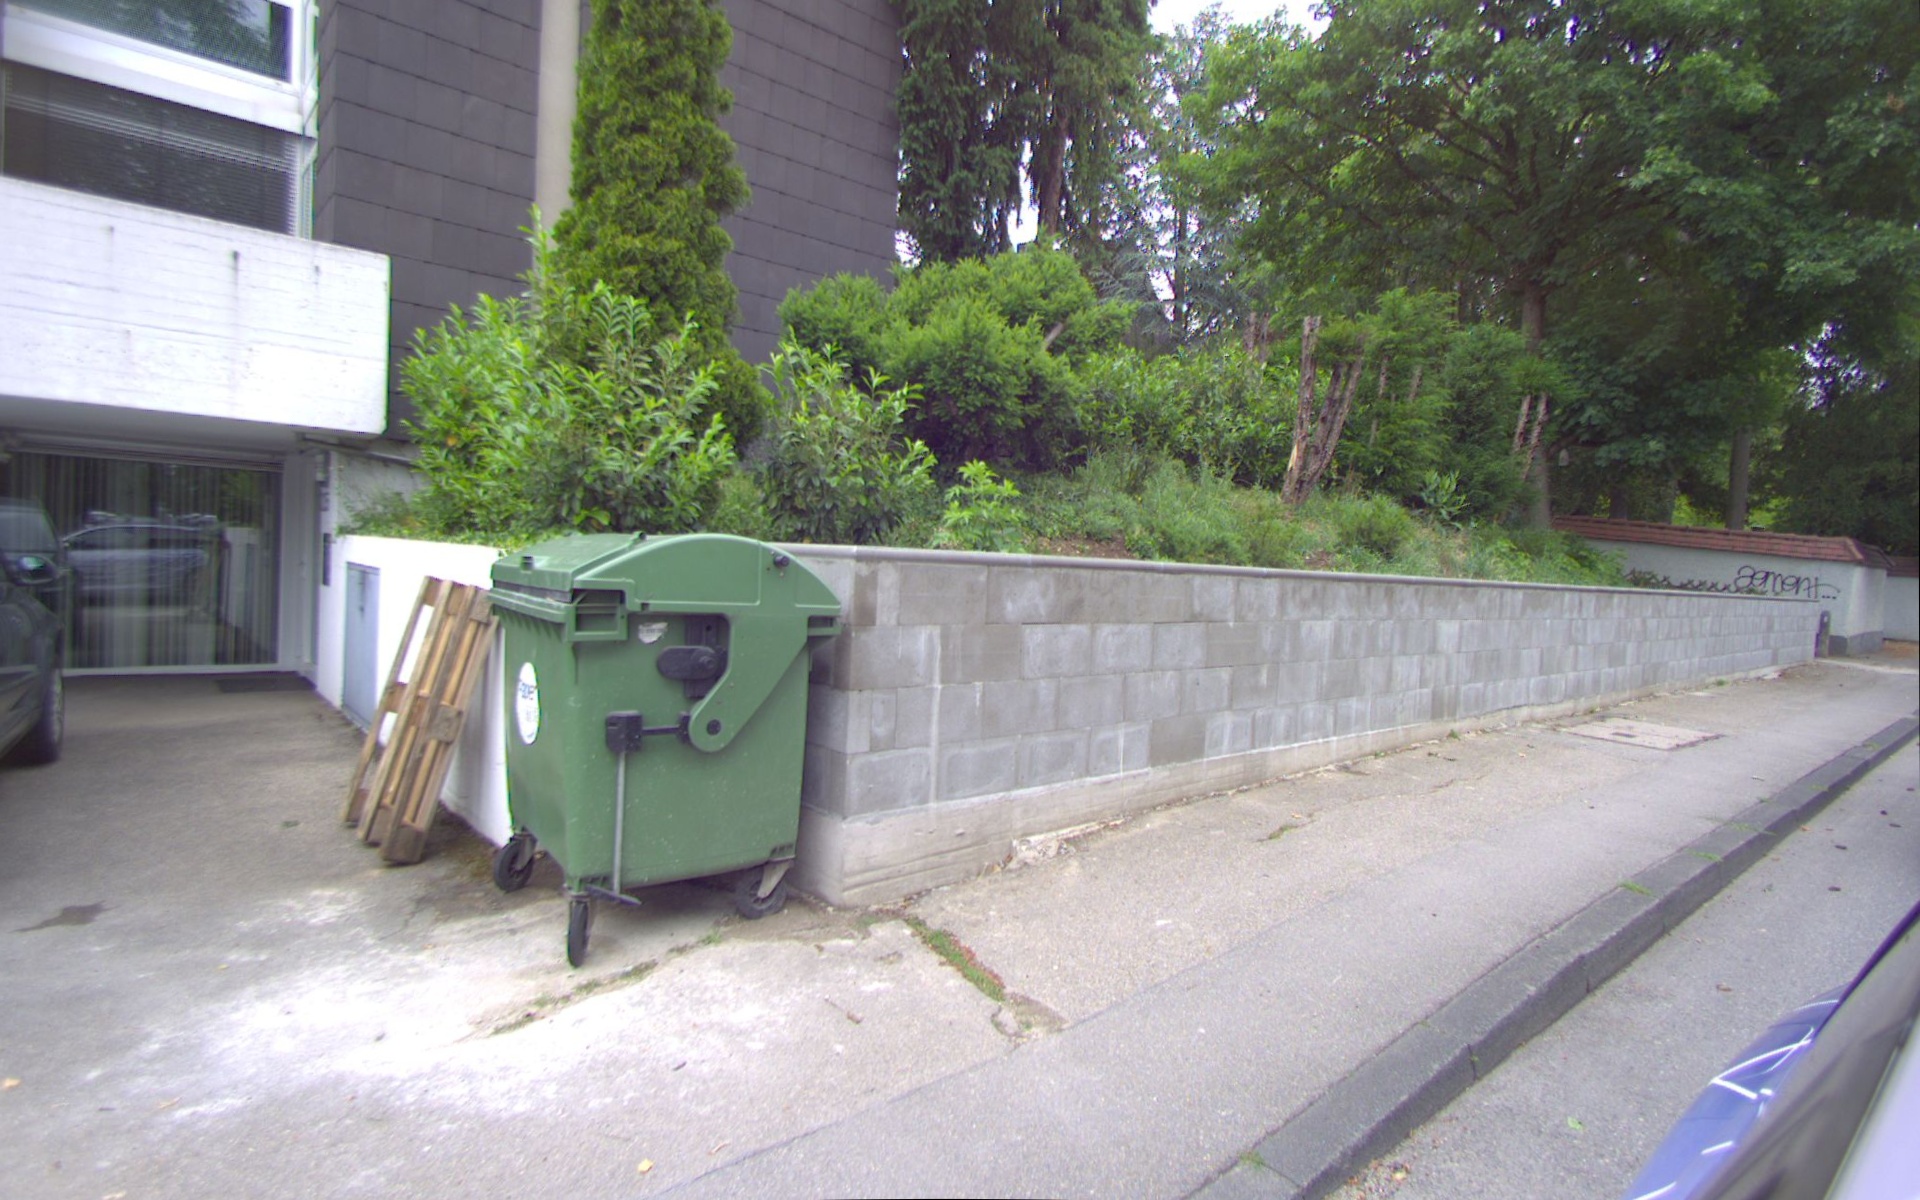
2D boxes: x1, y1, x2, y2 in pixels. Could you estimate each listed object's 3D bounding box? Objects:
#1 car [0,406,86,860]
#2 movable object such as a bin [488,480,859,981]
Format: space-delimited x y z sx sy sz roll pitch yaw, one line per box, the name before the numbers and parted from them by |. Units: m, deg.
car | -5.103 0.081 4.285 1.798 1.771 3.987 0 3 -36
movable object such as a bin | -1.108 0.379 3.844 1.014 1.549 1.037 0 2 -39
